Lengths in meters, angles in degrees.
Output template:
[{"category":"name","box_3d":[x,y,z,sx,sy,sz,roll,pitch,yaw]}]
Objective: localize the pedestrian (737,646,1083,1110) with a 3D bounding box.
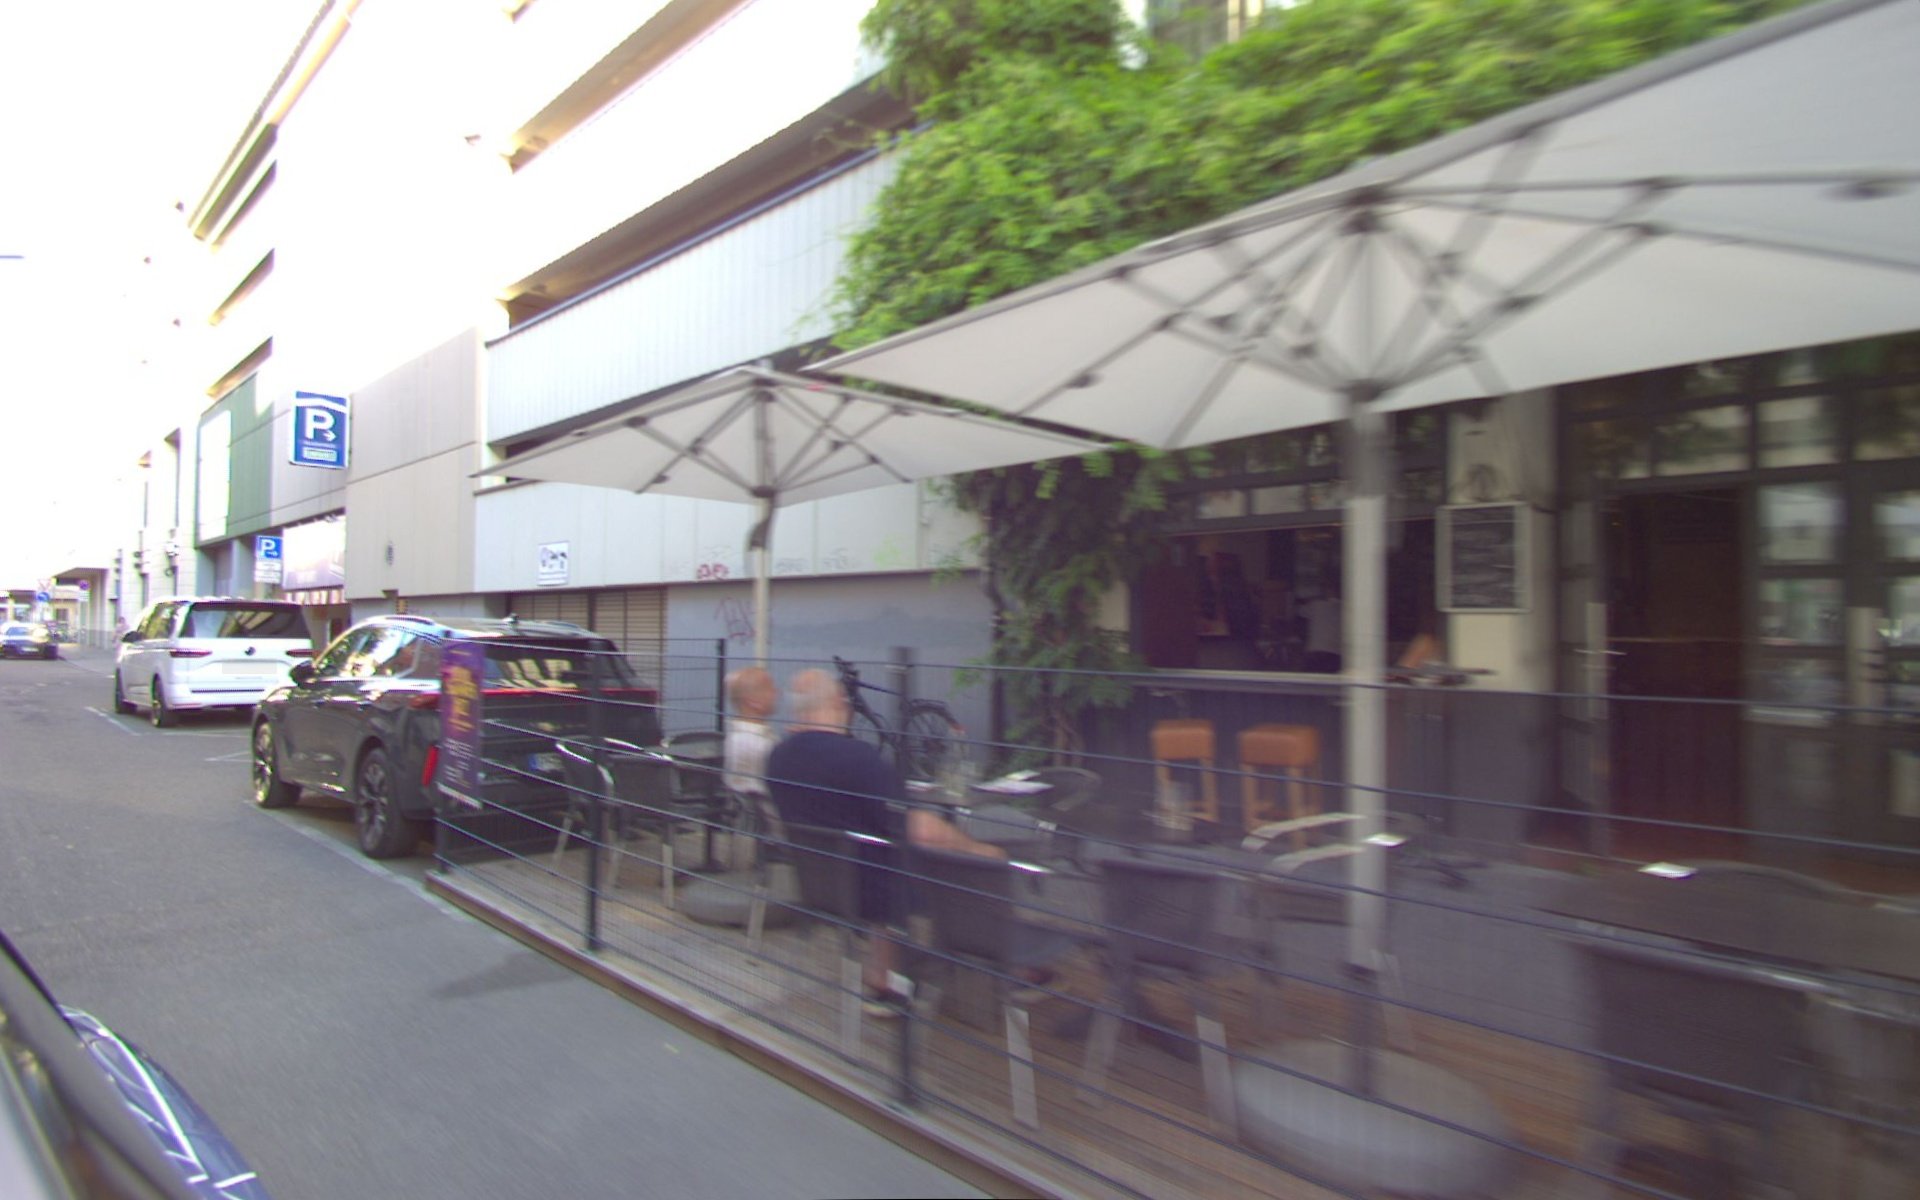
[{"category":"pedestrian","box_3d":[-0.176,0.813,3.483,0.916,1.297,0.772,-2,-3,44]}]

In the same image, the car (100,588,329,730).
[{"category":"car","box_3d":[-12.106,0.897,16.308,4.849,1.955,1.972,-1,-4,42]}]

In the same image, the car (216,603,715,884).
[{"category":"car","box_3d":[-4.138,0.906,8.032,4.770,1.580,1.861,-1,-5,42]}]

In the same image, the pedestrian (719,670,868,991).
[{"category":"pedestrian","box_3d":[-0.719,0.895,4.239,0.544,1.174,0.743,1,-2,-14]}]

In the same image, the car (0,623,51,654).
[{"category":"car","box_3d":[-45.373,1.823,48.782,3.627,1.460,1.795,-1,-2,40]}]

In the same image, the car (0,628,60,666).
[{"category":"car","box_3d":[-39.459,1.967,42.793,1.970,1.428,4.563,4,-3,-43]}]

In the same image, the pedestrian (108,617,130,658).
[{"category":"pedestrian","box_3d":[-33.834,1.501,40.713,0.565,1.638,0.611,-2,-2,44]}]

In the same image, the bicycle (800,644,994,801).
[{"category":"bicycle","box_3d":[-0.581,0.981,8.649,0.635,1.169,1.795,1,-2,-45]}]
